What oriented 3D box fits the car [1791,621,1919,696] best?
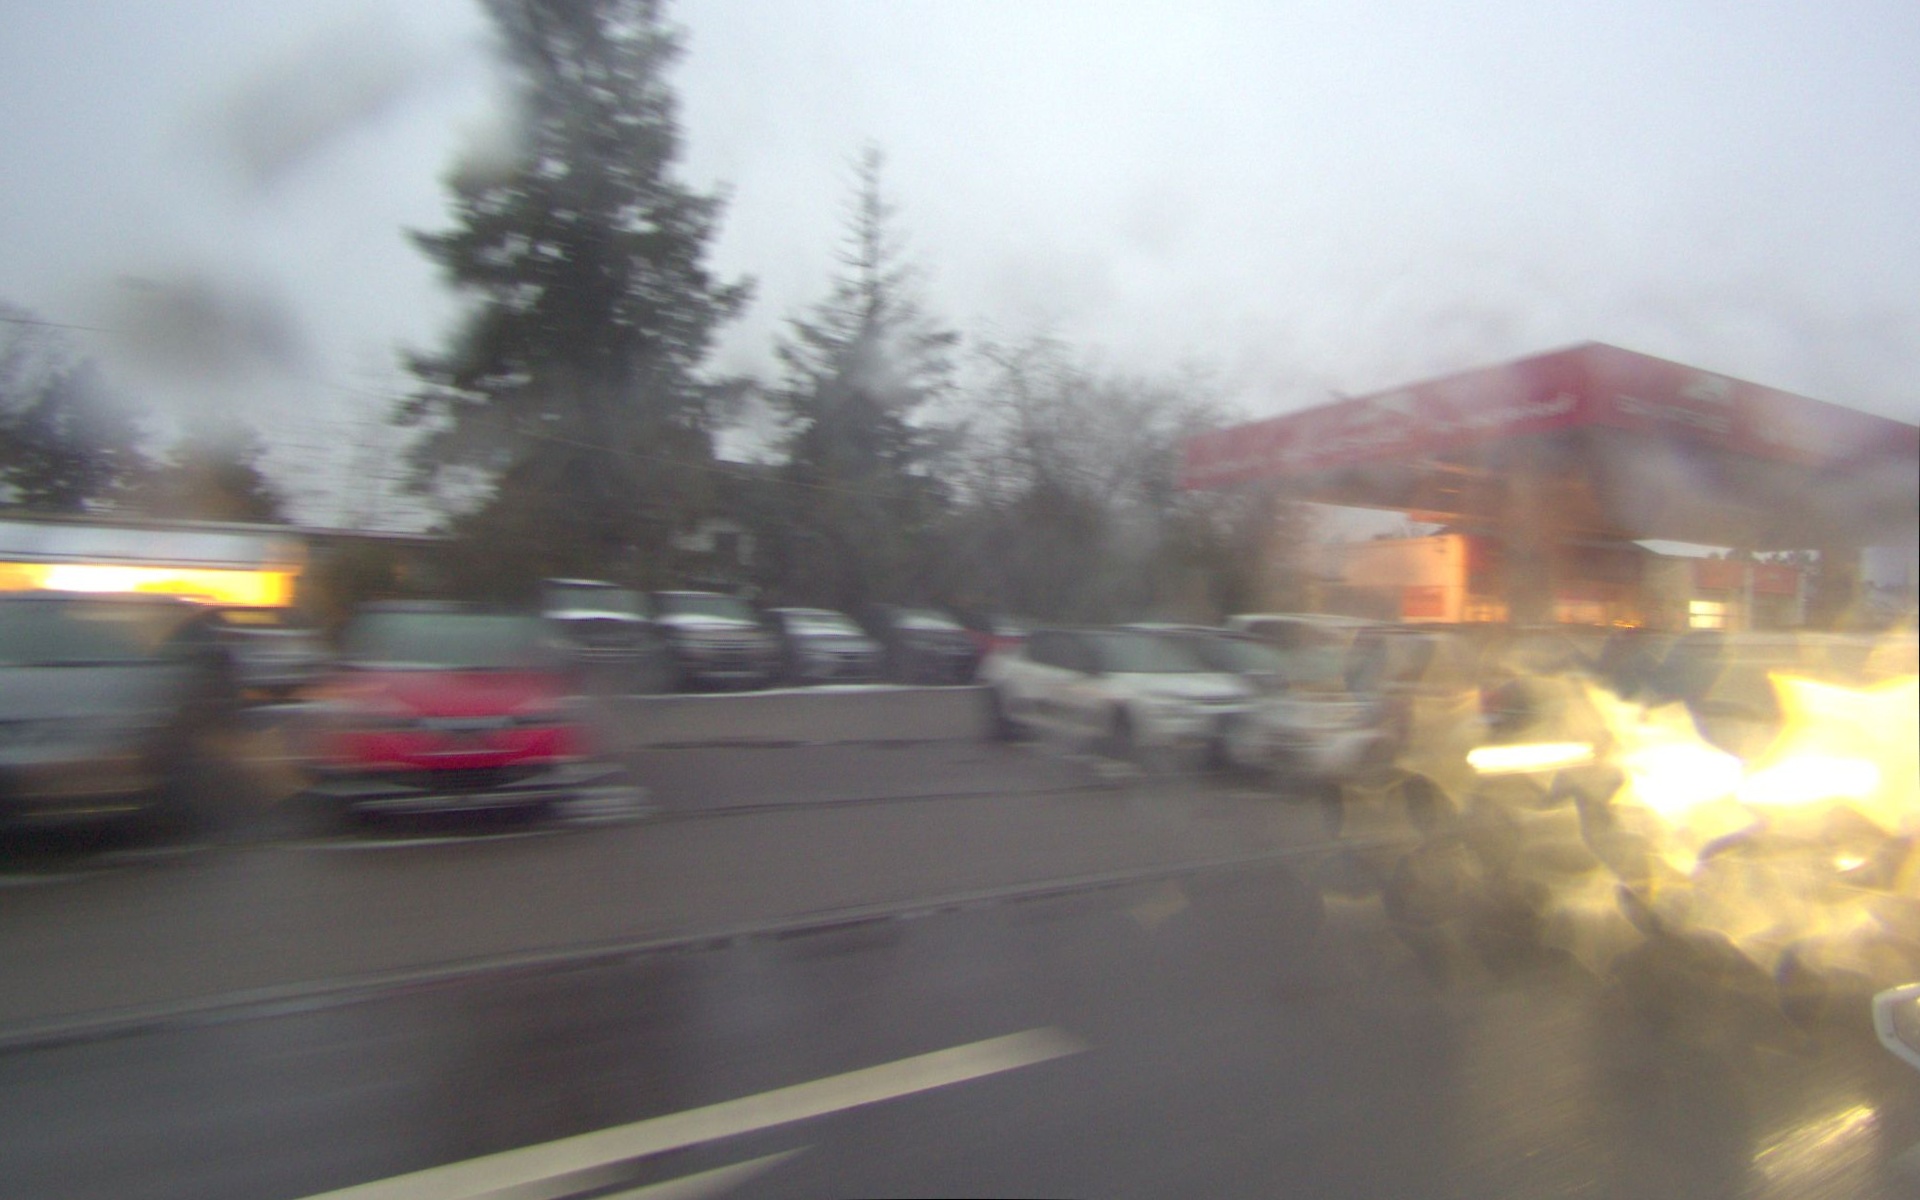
[{"bbox_3d":[22.847,1.395,23.959,1.957,1.678,4.261,2,-1,-29],"label":"car"}]

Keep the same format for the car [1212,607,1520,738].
[{"bbox_3d":[5.874,0.967,15.041,1.917,1.672,4.033,2,-1,-27],"label":"car"}]

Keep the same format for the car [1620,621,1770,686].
[{"bbox_3d":[20.684,1.494,28.245,4.098,1.678,1.880,2,-1,-29],"label":"car"}]

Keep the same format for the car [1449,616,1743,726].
[{"bbox_3d":[11.041,1.136,17.740,1.801,1.575,4.013,1,1,-29],"label":"car"}]

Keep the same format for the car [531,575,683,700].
[{"bbox_3d":[-6.400,0.599,17.941,1.934,1.948,3.970,1,0,-28],"label":"car"}]

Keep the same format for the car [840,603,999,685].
[{"bbox_3d":[-0.997,0.898,22.085,1.934,1.597,3.970,1,0,-28],"label":"car"}]

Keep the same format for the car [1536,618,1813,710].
[{"bbox_3d":[13.438,1.140,19.122,1.920,1.428,3.841,2,0,-29],"label":"car"}]

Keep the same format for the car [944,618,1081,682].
[{"bbox_3d":[1.140,1.108,23.272,1.602,1.275,3.557,2,0,-27],"label":"car"}]

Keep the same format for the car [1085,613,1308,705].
[{"bbox_3d":[4.457,1.063,18.911,3.823,1.509,1.826,1,1,-28],"label":"car"}]

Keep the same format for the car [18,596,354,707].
[{"bbox_3d":[-10.916,0.697,14.324,3.550,1.402,1.675,1,-1,4],"label":"car"}]

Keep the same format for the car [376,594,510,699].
[{"bbox_3d":[-8.679,0.693,16.852,1.767,1.530,3.970,1,0,-28],"label":"car"}]

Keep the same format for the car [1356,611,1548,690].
[{"bbox_3d":[11.000,1.071,22.436,3.994,1.575,1.860,1,1,-28],"label":"car"}]

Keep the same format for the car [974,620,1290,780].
[{"bbox_3d":[1.907,1.061,12.204,1.756,1.479,3.752,1,0,-31],"label":"car"}]

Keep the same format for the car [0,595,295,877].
[{"bbox_3d":[-6.379,0.741,7.301,1.968,1.518,4.321,1,-1,-26],"label":"car"}]

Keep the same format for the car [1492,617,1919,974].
[{"bbox_3d":[5.171,0.933,6.085,3.953,1.554,1.596,2,-3,-30],"label":"car"}]

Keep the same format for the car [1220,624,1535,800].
[{"bbox_3d":[4.311,1.052,10.358,2.979,1.563,1.511,2,-2,-30],"label":"car"}]

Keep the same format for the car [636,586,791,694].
[{"bbox_3d":[-4.836,0.696,19.294,1.934,1.832,3.970,1,0,-28],"label":"car"}]

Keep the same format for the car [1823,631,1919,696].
[{"bbox_3d":[24.729,1.634,25.531,1.818,1.580,3.841,2,-1,-29],"label":"car"}]

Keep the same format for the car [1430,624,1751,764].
[{"bbox_3d":[7.666,1.058,12.180,3.693,1.439,1.676,2,-1,-28],"label":"car"}]

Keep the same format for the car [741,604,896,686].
[{"bbox_3d":[-3.059,0.873,20.997,1.934,1.485,3.970,1,0,-28],"label":"car"}]

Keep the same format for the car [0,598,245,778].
[{"bbox_3d":[-9.556,0.830,10.118,3.665,1.699,1.660,2,-1,-32],"label":"car"}]

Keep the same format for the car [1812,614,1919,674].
[{"bbox_3d":[30.413,1.471,33.458,3.953,1.893,1.877,2,-1,-30],"label":"car"}]

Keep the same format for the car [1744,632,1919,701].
[{"bbox_3d":[20.365,1.469,22.667,1.818,1.363,3.841,2,-1,-29],"label":"car"}]

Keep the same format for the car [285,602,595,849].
[{"bbox_3d":[-4.400,0.805,8.596,1.803,1.518,4.318,1,-1,-28],"label":"car"}]

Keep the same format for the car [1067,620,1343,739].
[{"bbox_3d":[3.442,1.056,14.800,1.818,1.363,3.841,2,0,-29],"label":"car"}]
